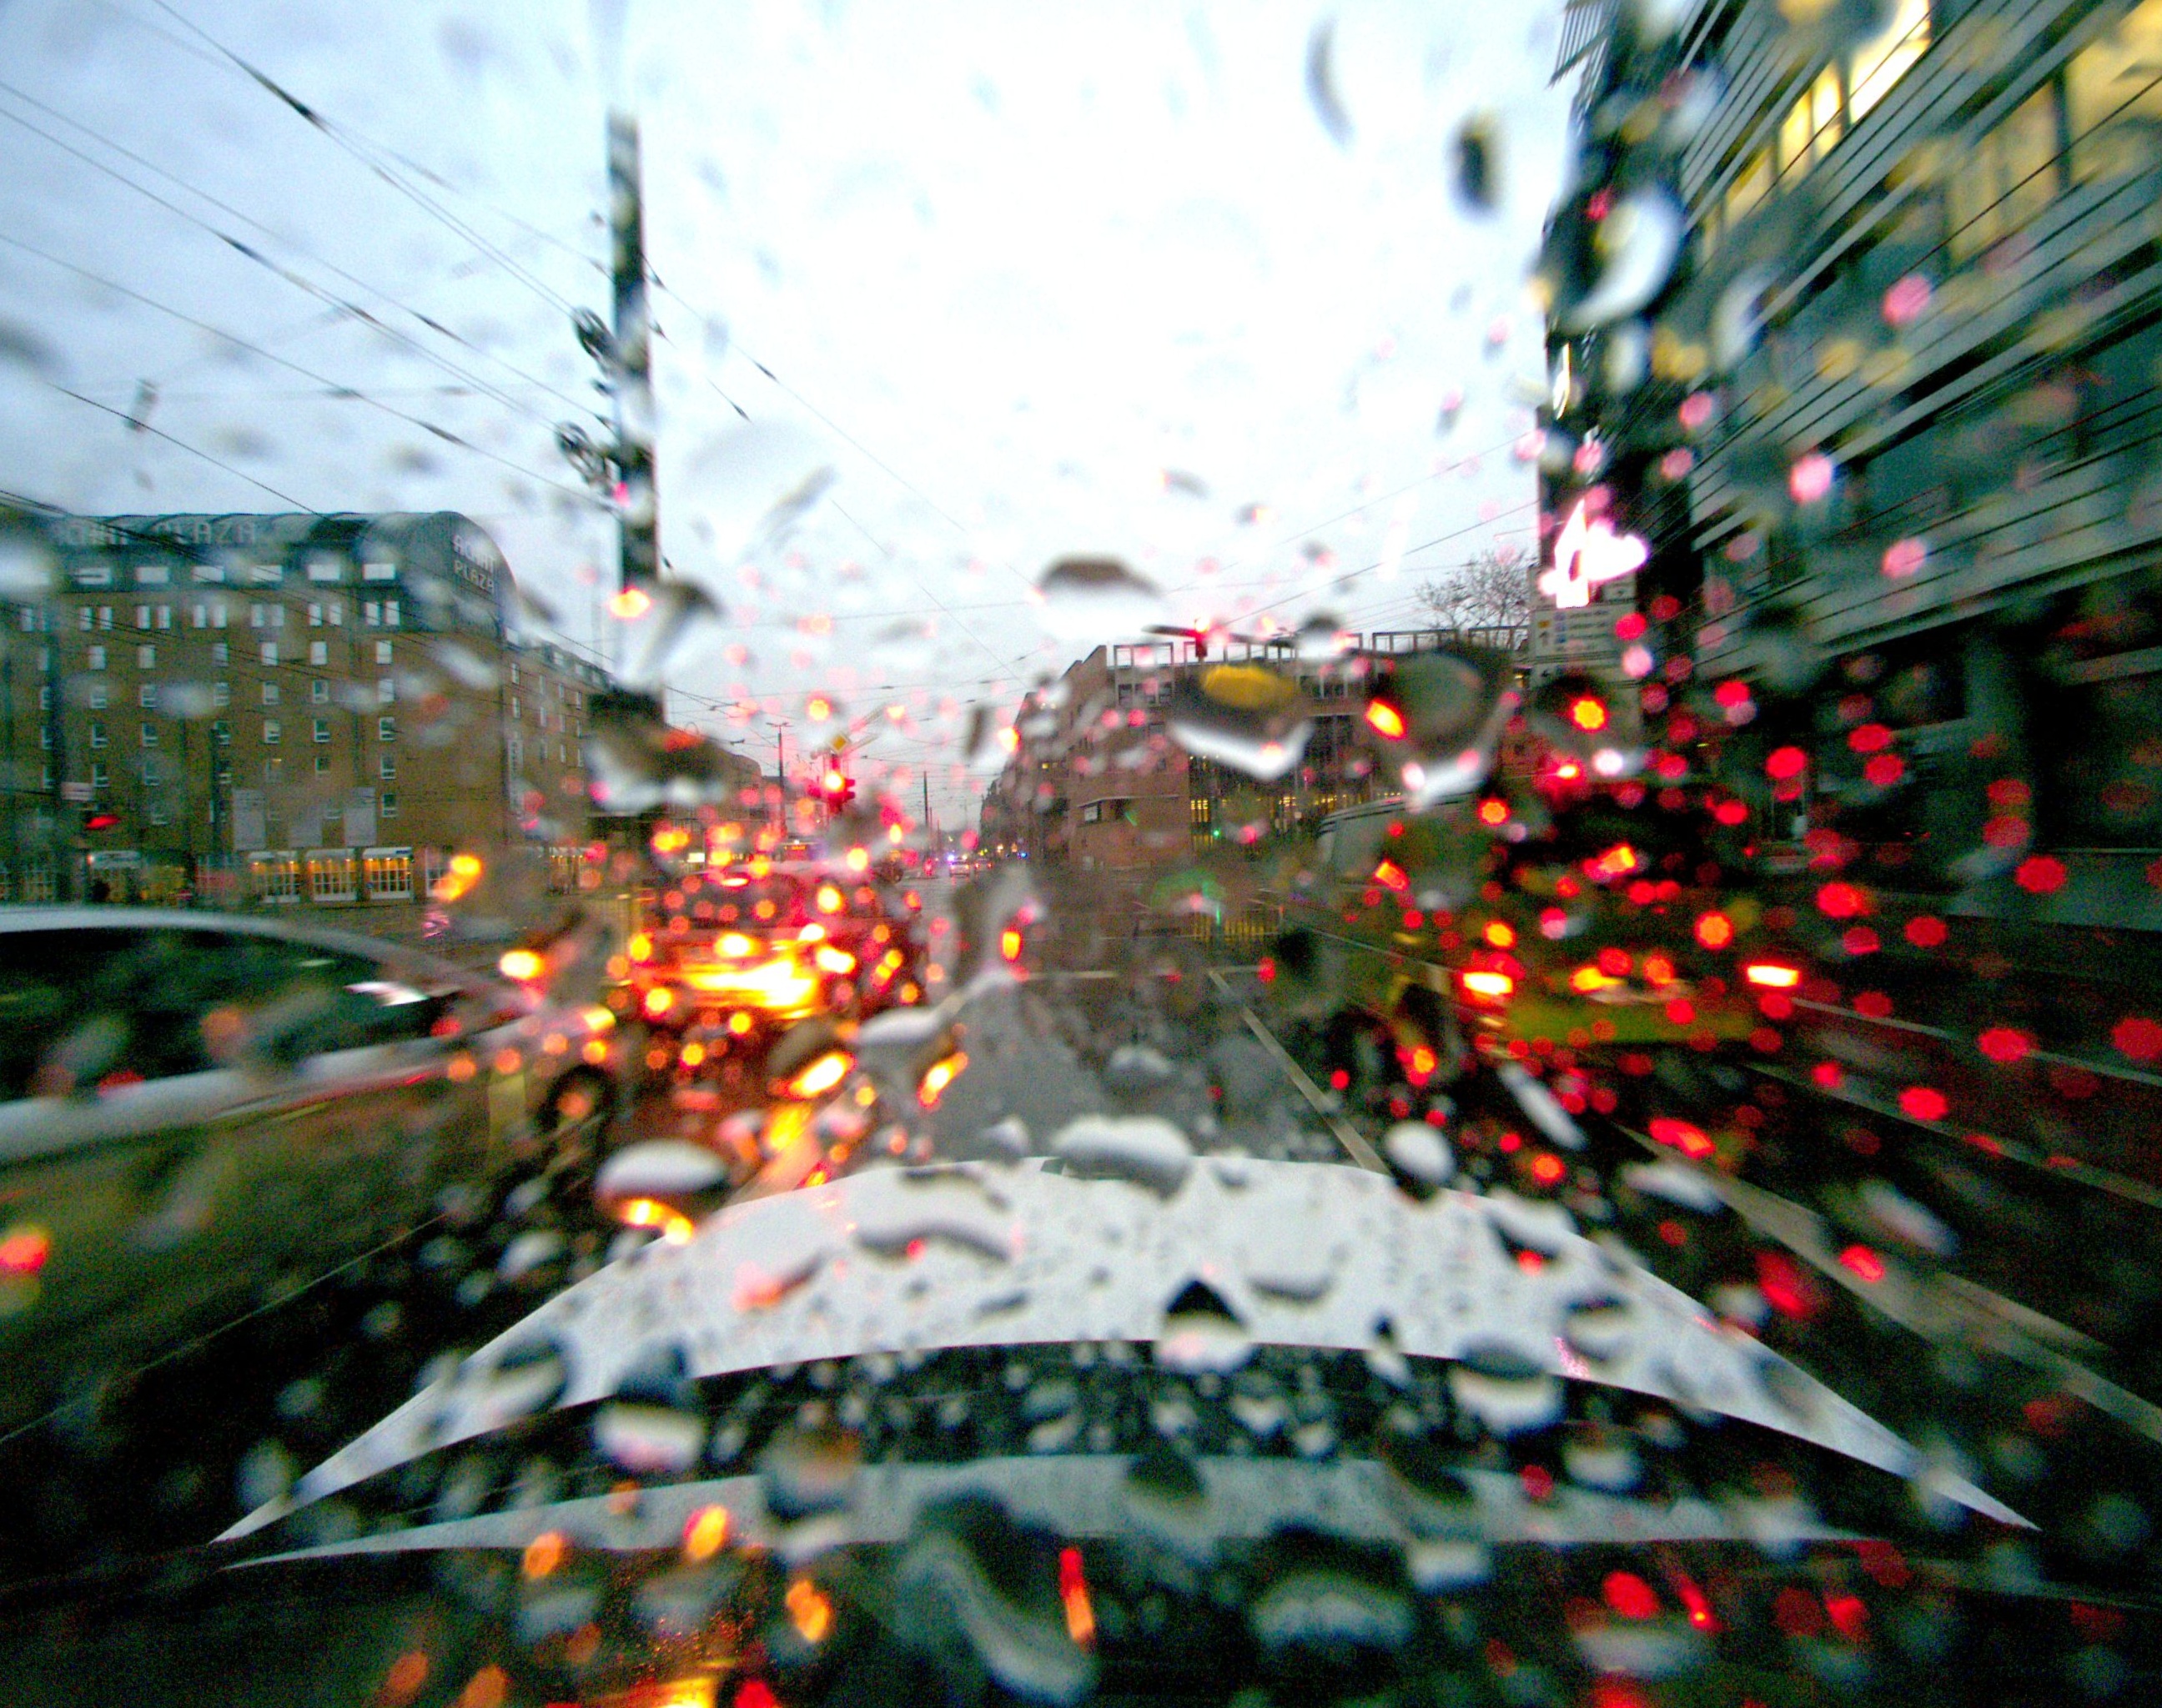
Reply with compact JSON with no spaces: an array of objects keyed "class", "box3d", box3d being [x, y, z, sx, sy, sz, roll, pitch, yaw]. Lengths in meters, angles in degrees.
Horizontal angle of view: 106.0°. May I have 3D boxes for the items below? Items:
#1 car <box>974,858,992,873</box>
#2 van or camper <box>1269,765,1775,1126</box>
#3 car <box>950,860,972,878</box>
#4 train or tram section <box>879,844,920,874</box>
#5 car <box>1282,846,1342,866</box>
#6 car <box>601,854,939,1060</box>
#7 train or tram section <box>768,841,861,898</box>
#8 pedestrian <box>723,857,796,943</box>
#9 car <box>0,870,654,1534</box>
[{"class":"car","box3d":[-10.447,1.241,87.284,1.869,1.578,3.991,0,0,-7]},{"class":"van or camper","box3d":[2.855,0.478,6.545,1.750,1.906,4.420,-1,0,1]},{"class":"car","box3d":[-10.855,1.322,73.654,1.870,1.578,3.988,0,0,-8]},{"class":"train or tram section","box3d":[-24.282,0.704,110.673,3.189,3.436,27.749,-2,0,-8]},{"class":"car","box3d":[17.492,0.124,61.800,3.977,1.310,1.998,-2,0,-3]},{"class":"car","box3d":[-2.630,0.767,7.904,1.691,1.459,3.759,-2,0,2]},{"class":"train or tram section","box3d":[-19.973,1.047,62.790,2.862,3.614,20.020,-2,0,-7]},{"class":"pedestrian","box3d":[-6.355,0.896,16.101,0.707,1.601,1.043,-5,-1,42]},{"class":"car","box3d":[-3.241,0.798,2.471,1.699,1.448,4.001,0,0,1]}]
